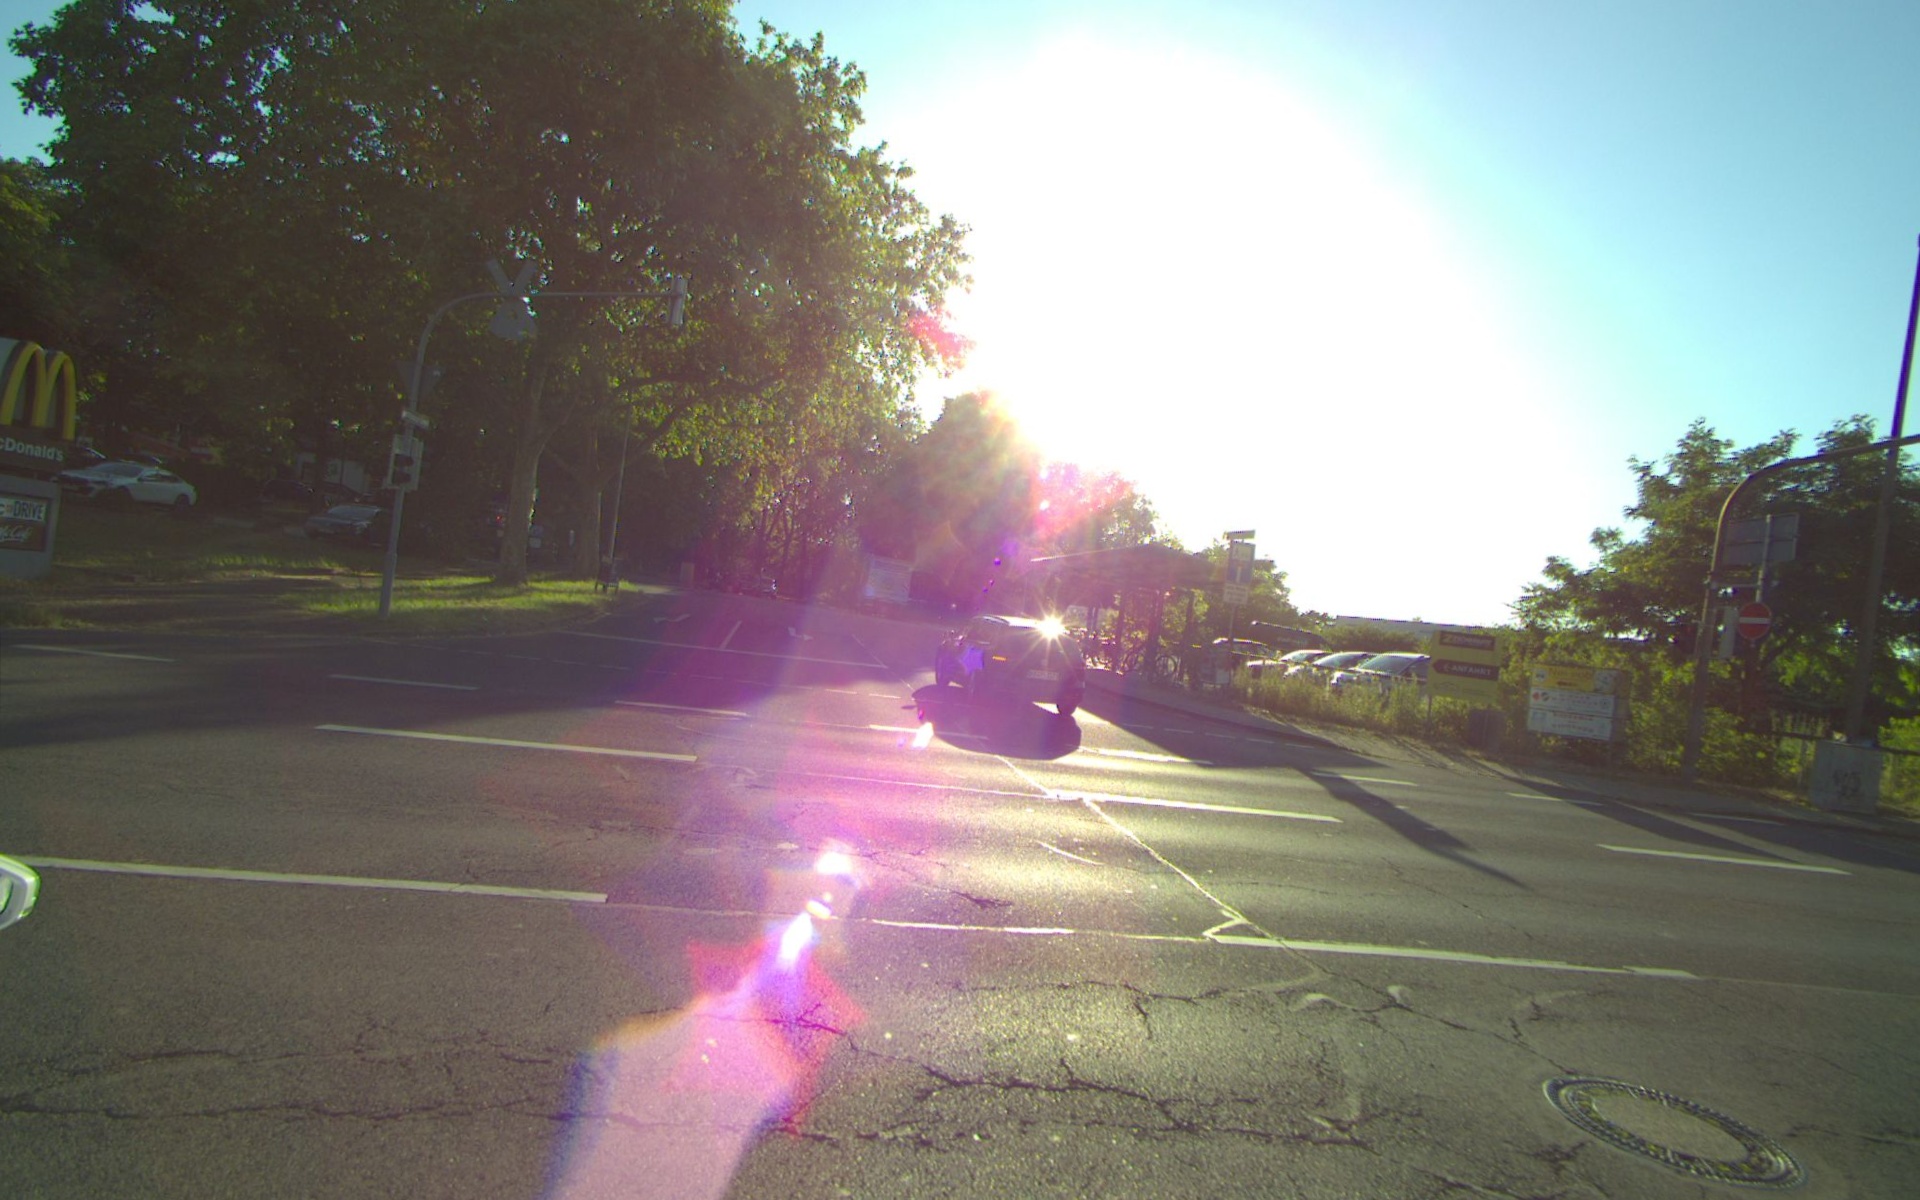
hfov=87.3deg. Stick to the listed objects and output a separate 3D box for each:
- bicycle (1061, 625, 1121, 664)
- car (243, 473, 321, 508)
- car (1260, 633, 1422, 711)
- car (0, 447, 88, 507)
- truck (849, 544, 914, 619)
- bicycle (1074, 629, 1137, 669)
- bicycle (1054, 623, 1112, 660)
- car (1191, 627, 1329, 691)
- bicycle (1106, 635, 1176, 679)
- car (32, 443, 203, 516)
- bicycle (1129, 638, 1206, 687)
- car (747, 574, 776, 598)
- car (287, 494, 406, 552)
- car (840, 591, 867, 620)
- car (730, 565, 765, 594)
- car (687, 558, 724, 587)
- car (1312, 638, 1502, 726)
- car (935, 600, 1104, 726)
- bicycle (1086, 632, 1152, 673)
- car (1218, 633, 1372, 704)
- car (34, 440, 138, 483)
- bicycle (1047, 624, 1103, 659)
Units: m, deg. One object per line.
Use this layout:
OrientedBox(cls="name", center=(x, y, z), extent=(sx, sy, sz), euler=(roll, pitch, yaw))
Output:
OrientedBox(cls="bicycle", center=(4.488, 1.521, 34.438), extent=(1.860, 1.051, 0.543), euler=(8, 1, -6))
OrientedBox(cls="car", center=(-44.282, -7.115, 65.842), extent=(3.956, 1.571, 1.794), euler=(8, 0, -29))
OrientedBox(cls="car", center=(11.548, 2.167, 30.641), extent=(3.936, 1.669, 2.115), euler=(8, 1, -12))
OrientedBox(cls="car", center=(-32.775, -4.349, 34.954), extent=(1.799, 1.708, 4.213), euler=(7, 0, -13))
OrientedBox(cls="truck", center=(-5.167, -1.168, 63.899), extent=(3.140, 3.924, 11.081), euler=(8, 0, -7))
OrientedBox(cls="bicycle", center=(4.708, 1.587, 32.582), extent=(1.862, 1.051, 0.543), euler=(8, 1, -10))
OrientedBox(cls="bicycle", center=(4.349, 1.468, 35.709), extent=(1.860, 1.051, 0.543), euler=(8, 1, -6))
OrientedBox(cls="car", center=(11.026, 2.151, 37.121), extent=(4.251, 1.669, 2.115), euler=(8, 1, -12))
OrientedBox(cls="bicycle", center=(5.334, 1.677, 29.709), extent=(1.862, 1.051, 0.543), euler=(8, 1, -10))
OrientedBox(cls="car", center=(-29.047, -4.108, 34.939), extent=(1.965, 1.727, 4.894), euler=(8, 0, -5))
OrientedBox(cls="bicycle", center=(5.565, 1.682, 26.990), extent=(1.862, 1.051, 0.543), euler=(8, 1, -10))
OrientedBox(cls="car", center=(-15.265, -1.074, 77.368), extent=(1.820, 1.571, 3.992), euler=(8, 0, -9))
OrientedBox(cls="car", center=(-21.879, -2.696, 36.109), extent=(2.009, 1.593, 4.393), euler=(8, 0, -10))
OrientedBox(cls="car", center=(-8.458, 0.439, 79.472), extent=(1.675, 1.931, 4.858), euler=(8, 0, -9))
OrientedBox(cls="car", center=(-13.831, -1.361, 65.719), extent=(1.820, 1.571, 3.992), euler=(8, 0, -9))
OrientedBox(cls="car", center=(-16.746, -1.808, 66.378), extent=(1.820, 1.571, 3.992), euler=(8, 0, -9))
OrientedBox(cls="car", center=(12.242, 2.230, 27.668), extent=(4.159, 1.669, 2.115), euler=(8, 1, -12))
OrientedBox(cls="car", center=(0.866, 0.959, 17.282), extent=(1.800, 1.575, 4.249), euler=(8, 0, -10))
OrientedBox(cls="bicycle", center=(5.023, 1.660, 31.837), extent=(1.862, 1.051, 0.543), euler=(8, 1, -10))
OrientedBox(cls="car", center=(11.157, 2.267, 33.649), extent=(4.251, 1.669, 2.115), euler=(8, 1, -12))
OrientedBox(cls="car", center=(-48.777, -7.707, 56.243), extent=(3.954, 1.571, 1.794), euler=(8, 0, -28))
OrientedBox(cls="bicycle", center=(4.258, 1.543, 37.313), extent=(1.860, 1.051, 0.543), euler=(8, 1, -6))
